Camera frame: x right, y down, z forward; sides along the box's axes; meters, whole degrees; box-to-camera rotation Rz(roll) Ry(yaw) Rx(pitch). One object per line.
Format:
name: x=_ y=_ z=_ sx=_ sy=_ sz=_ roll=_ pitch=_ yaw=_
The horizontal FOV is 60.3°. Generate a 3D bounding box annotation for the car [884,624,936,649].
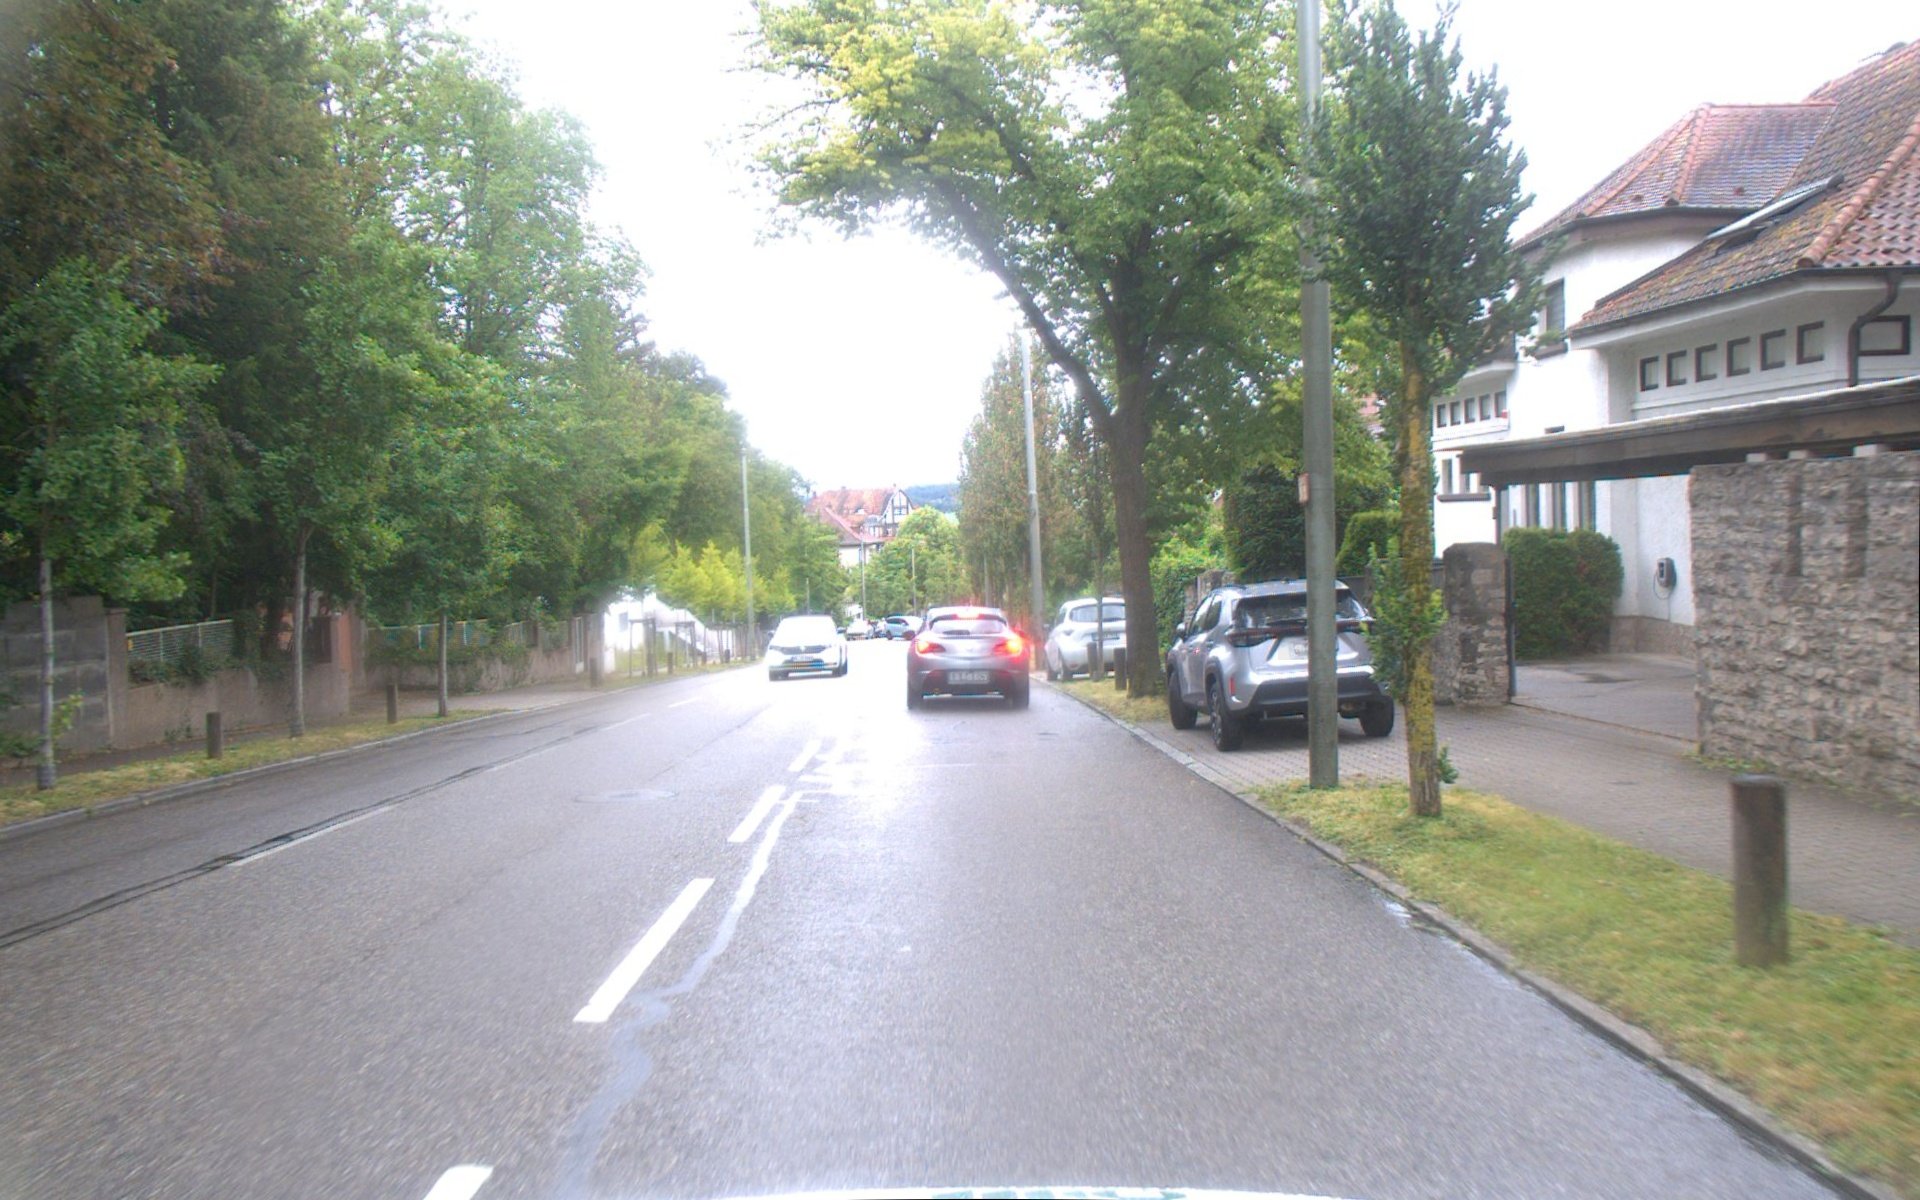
car: x=-3.677 y=2.664 z=121.551 sx=1.978 sy=1.713 sz=3.949 roll=1 pitch=0 yaw=-36

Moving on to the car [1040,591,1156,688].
car: x=2.670 y=0.746 z=32.783 sx=1.788 sy=1.658 sz=3.999 roll=-4 pitch=0 yaw=-1

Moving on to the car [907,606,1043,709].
car: x=0.181 y=0.867 z=25.282 sx=1.905 sy=1.457 sz=3.883 roll=0 pitch=-2 yaw=-1

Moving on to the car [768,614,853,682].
car: x=-3.638 y=1.191 z=40.943 sx=1.757 sy=1.536 sz=4.092 roll=-2 pitch=-2 yaw=-1

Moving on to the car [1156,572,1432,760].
car: x=3.320 y=0.590 z=17.292 sx=1.879 sy=1.594 sz=4.219 roll=-4 pitch=0 yaw=-1
